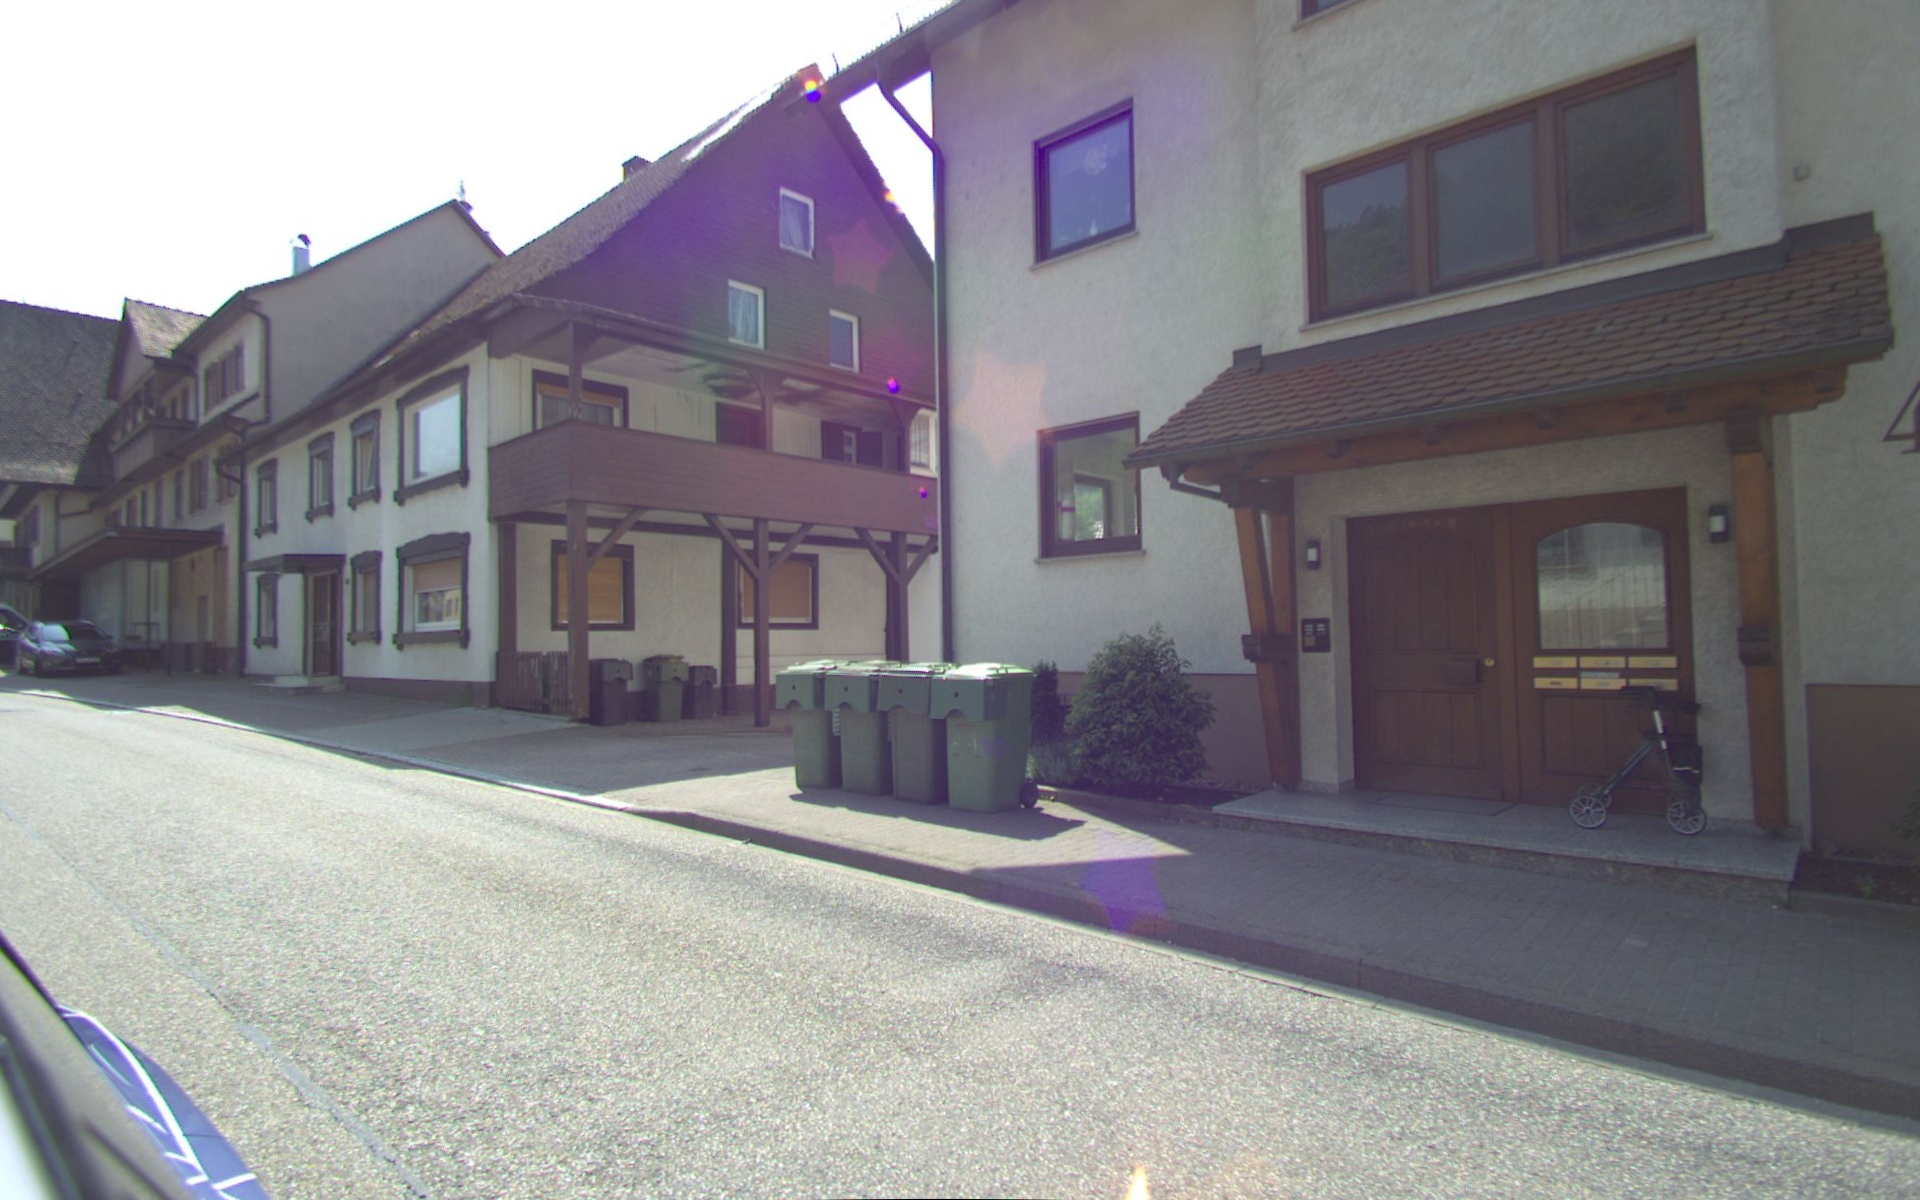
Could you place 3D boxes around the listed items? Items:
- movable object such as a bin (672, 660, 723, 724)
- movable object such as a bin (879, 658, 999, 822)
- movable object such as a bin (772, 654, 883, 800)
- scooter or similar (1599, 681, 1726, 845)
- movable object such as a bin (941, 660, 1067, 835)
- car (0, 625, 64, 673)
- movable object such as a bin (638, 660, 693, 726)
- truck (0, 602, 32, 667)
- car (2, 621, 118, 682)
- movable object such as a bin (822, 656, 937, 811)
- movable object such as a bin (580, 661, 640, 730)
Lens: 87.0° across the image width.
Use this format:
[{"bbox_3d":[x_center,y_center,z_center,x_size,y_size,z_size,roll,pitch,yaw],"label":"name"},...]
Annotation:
[{"bbox_3d":[-4.552,1.583,17.540,0.600,1.059,0.592,-2,-4,41],"label":"movable object such as a bin"},{"bbox_3d":[-0.161,1.055,7.899,0.598,1.190,0.710,-2,-5,42],"label":"movable object such as a bin"},{"bbox_3d":[-1.140,1.070,8.770,0.598,1.190,0.710,-2,-5,42],"label":"movable object such as a bin"},{"bbox_3d":[4.002,0.897,5.763,0.537,0.832,0.500,-1,-3,40],"label":"scooter or similar"},{"bbox_3d":[0.330,1.048,7.461,0.598,1.190,0.710,-2,-5,42],"label":"movable object such as a bin"},{"bbox_3d":[-31.367,1.564,32.193,1.752,1.514,4.054,-2,-3,39],"label":"car"},{"bbox_3d":[-4.921,1.544,16.928,0.632,1.059,0.600,-2,-4,41],"label":"movable object such as a bin"},{"bbox_3d":[-35.370,1.226,35.293,1.996,2.283,4.129,-1,-2,36],"label":"truck"},{"bbox_3d":[-25.229,1.386,28.343,4.280,1.565,1.752,-2,-1,39],"label":"car"},{"bbox_3d":[-0.657,1.062,8.321,0.598,1.190,0.710,-2,-5,42],"label":"movable object such as a bin"},{"bbox_3d":[-5.623,1.517,16.253,0.696,1.059,0.615,-2,-4,41],"label":"movable object such as a bin"}]
